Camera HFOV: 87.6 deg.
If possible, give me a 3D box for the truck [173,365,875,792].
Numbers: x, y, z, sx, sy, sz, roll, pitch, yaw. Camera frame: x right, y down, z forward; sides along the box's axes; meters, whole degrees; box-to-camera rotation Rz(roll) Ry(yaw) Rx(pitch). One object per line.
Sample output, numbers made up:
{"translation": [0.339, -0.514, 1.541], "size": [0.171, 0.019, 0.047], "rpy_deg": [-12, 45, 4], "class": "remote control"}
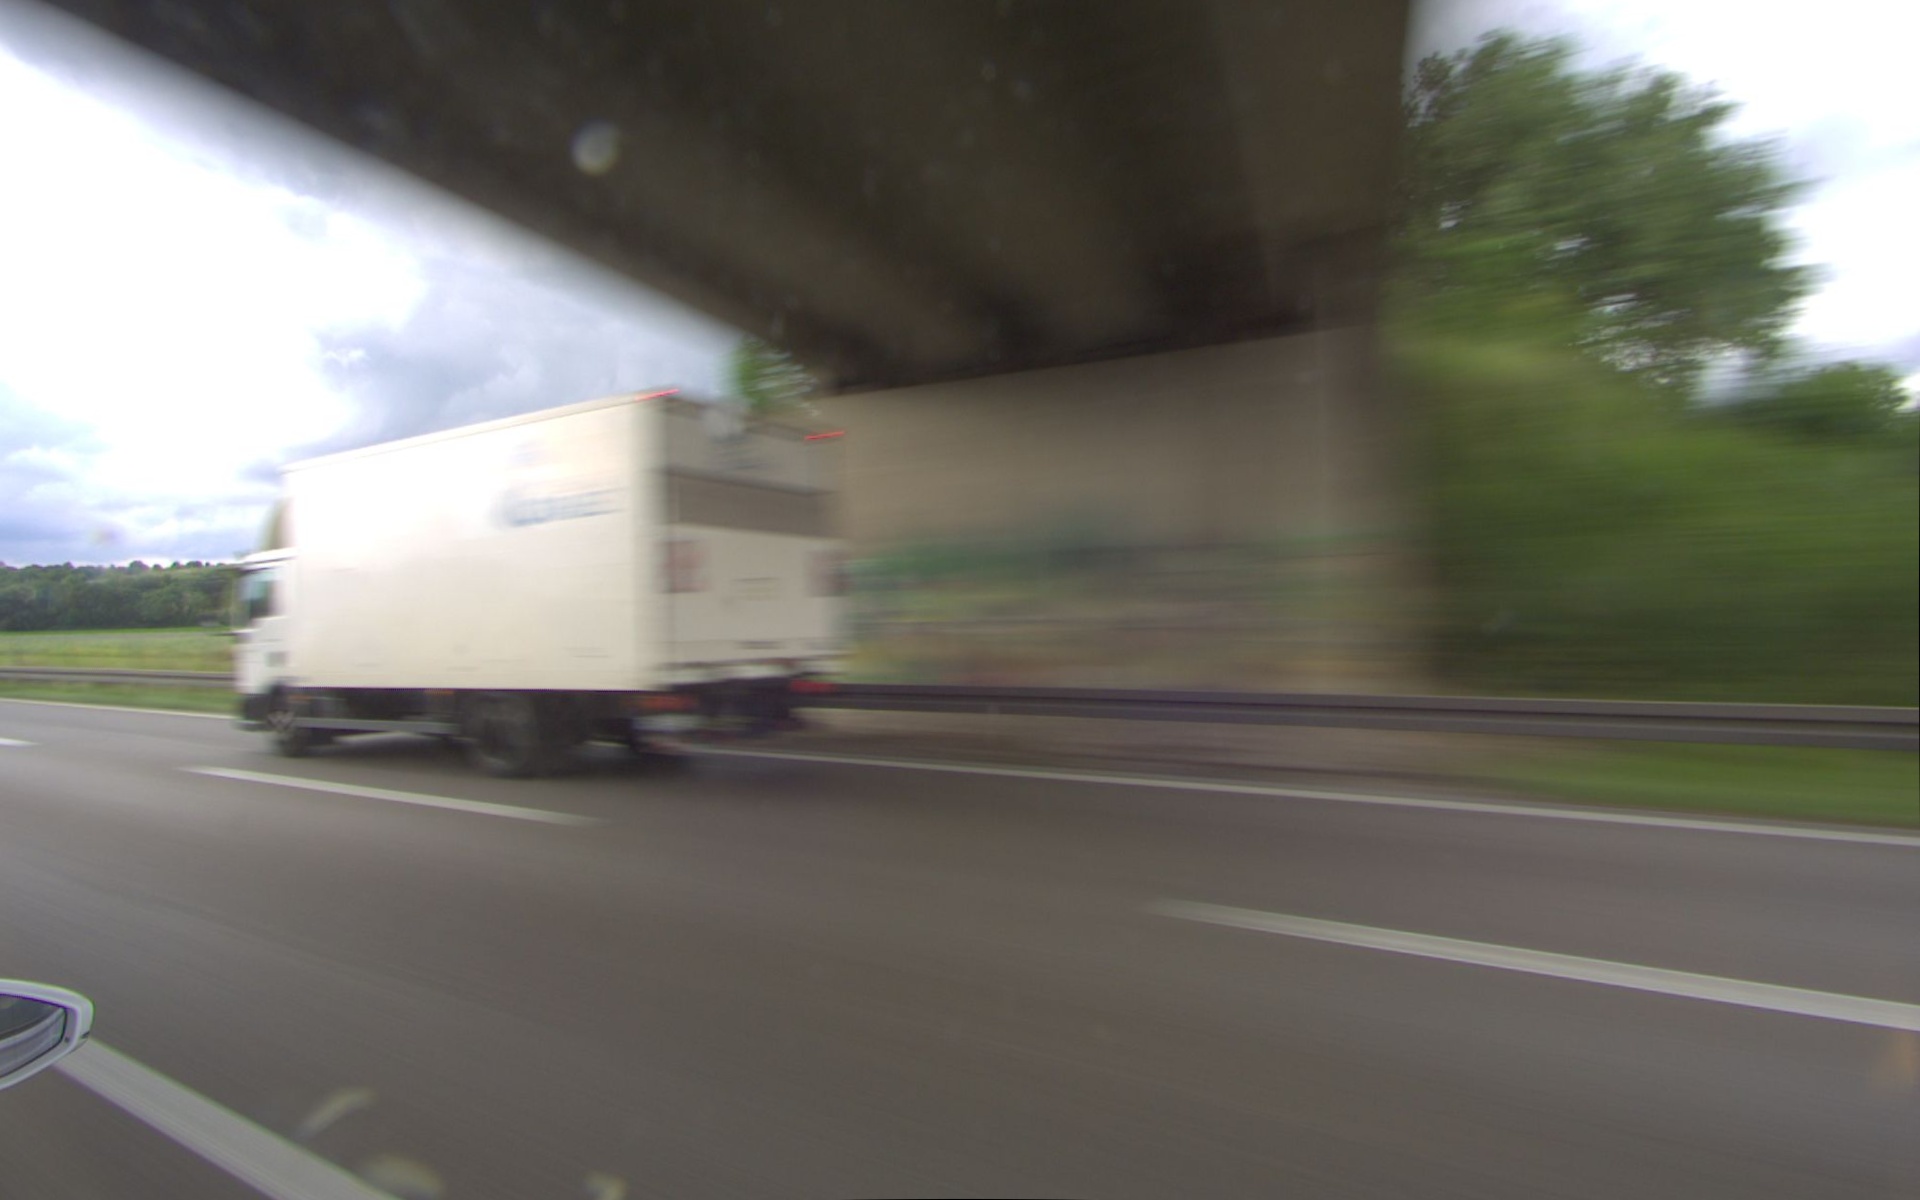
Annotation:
{"translation": [-5.463, 0.008, 11.838], "size": [8.761, 3.514, 3.101], "rpy_deg": [-2, -3, 31], "class": "truck"}
